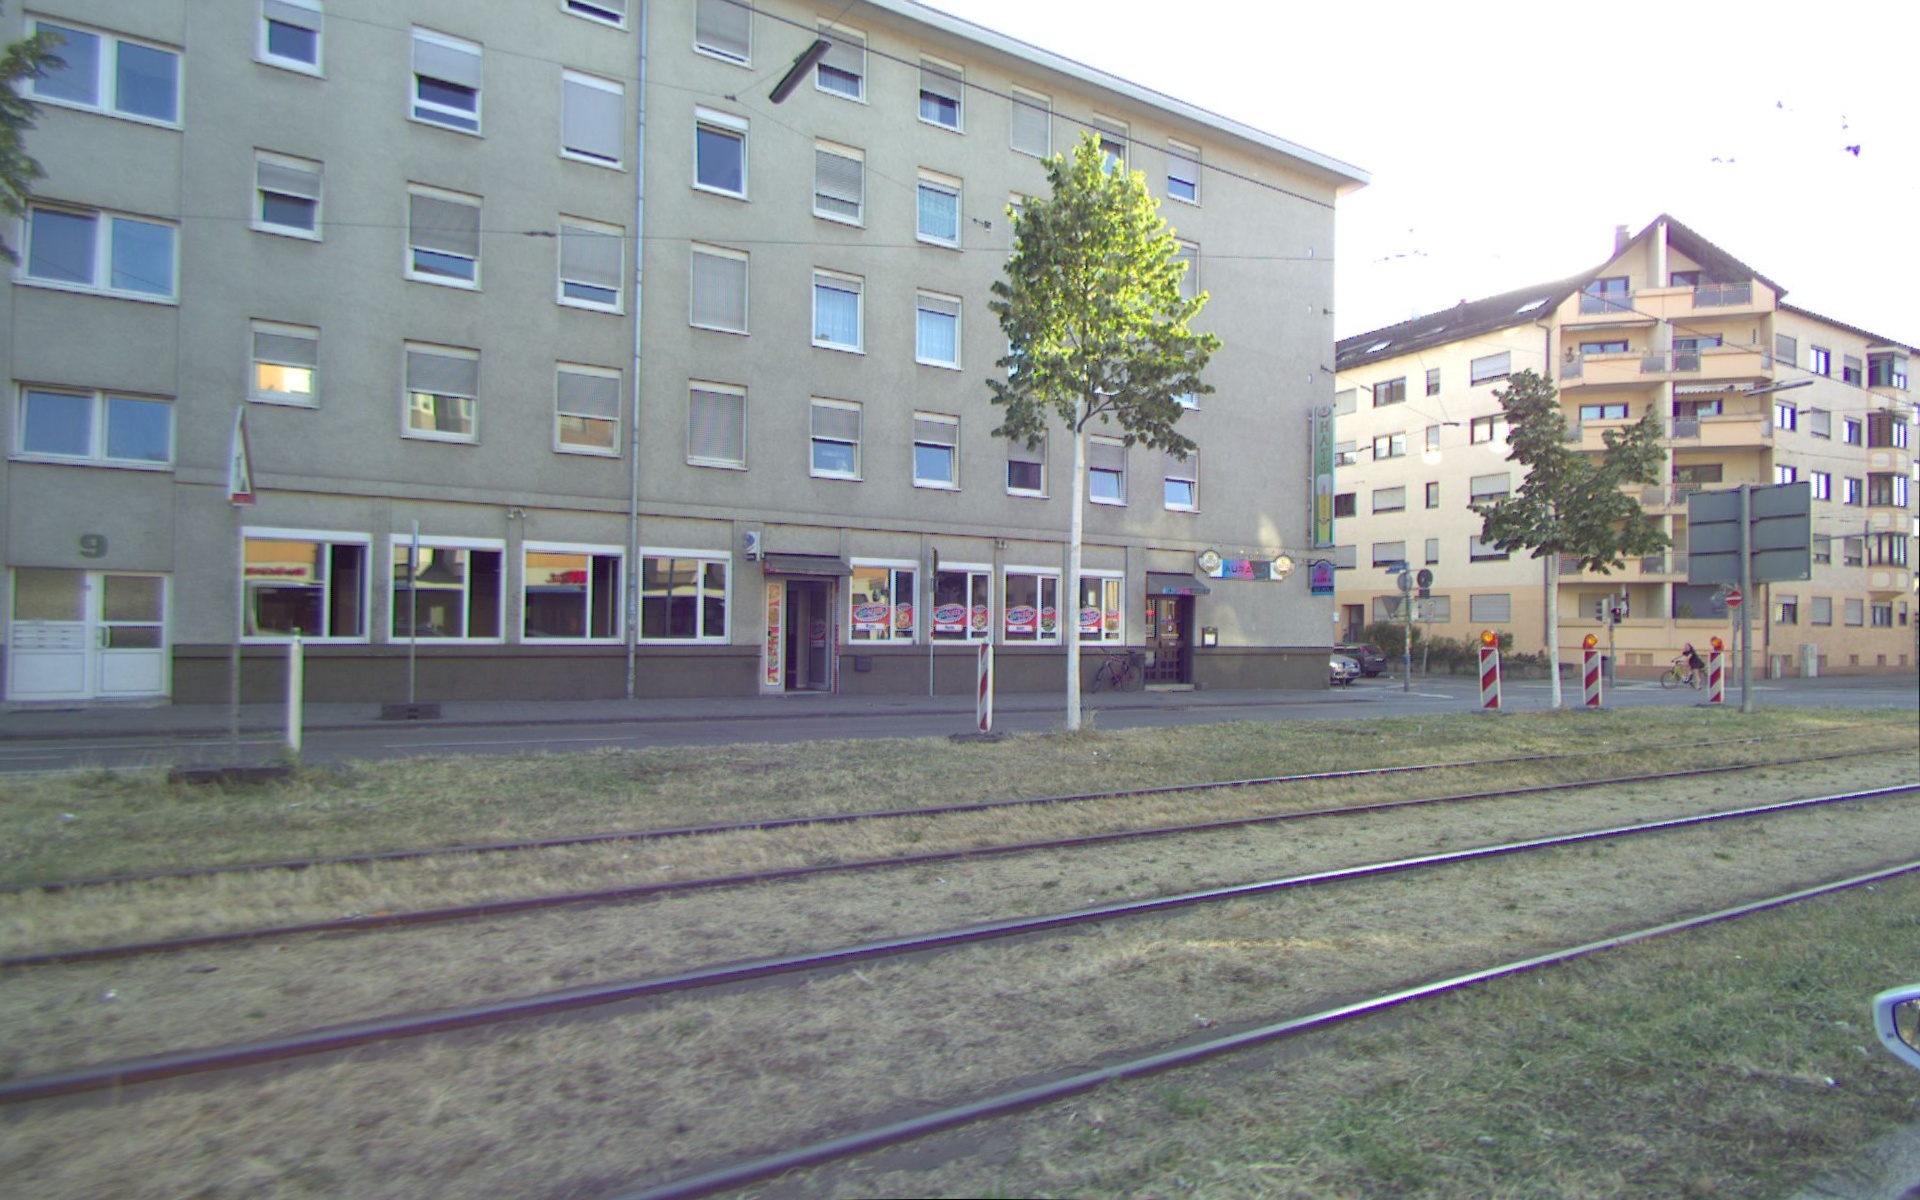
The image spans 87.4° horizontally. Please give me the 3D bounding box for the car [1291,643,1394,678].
[{"bbox_3d":[16.908,2.636,44.555,1.775,1.458,3.927,2,-3,-39],"label":"car"}]

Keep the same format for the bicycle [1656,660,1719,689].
[{"bbox_3d":[26.138,2.682,36.116,1.845,0.997,0.529,1,-2,1],"label":"bicycle"}]

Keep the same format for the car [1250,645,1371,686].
[{"bbox_3d":[13.361,2.477,38.473,1.751,1.406,4.075,2,-2,-39],"label":"car"}]

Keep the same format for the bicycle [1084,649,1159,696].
[{"bbox_3d":[3.989,1.775,24.802,1.757,1.129,0.743,2,-2,-30],"label":"bicycle"}]

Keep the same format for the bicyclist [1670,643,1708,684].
[{"bbox_3d":[26.207,2.277,36.119,0.946,1.466,0.529,1,-2,1],"label":"bicyclist"}]
